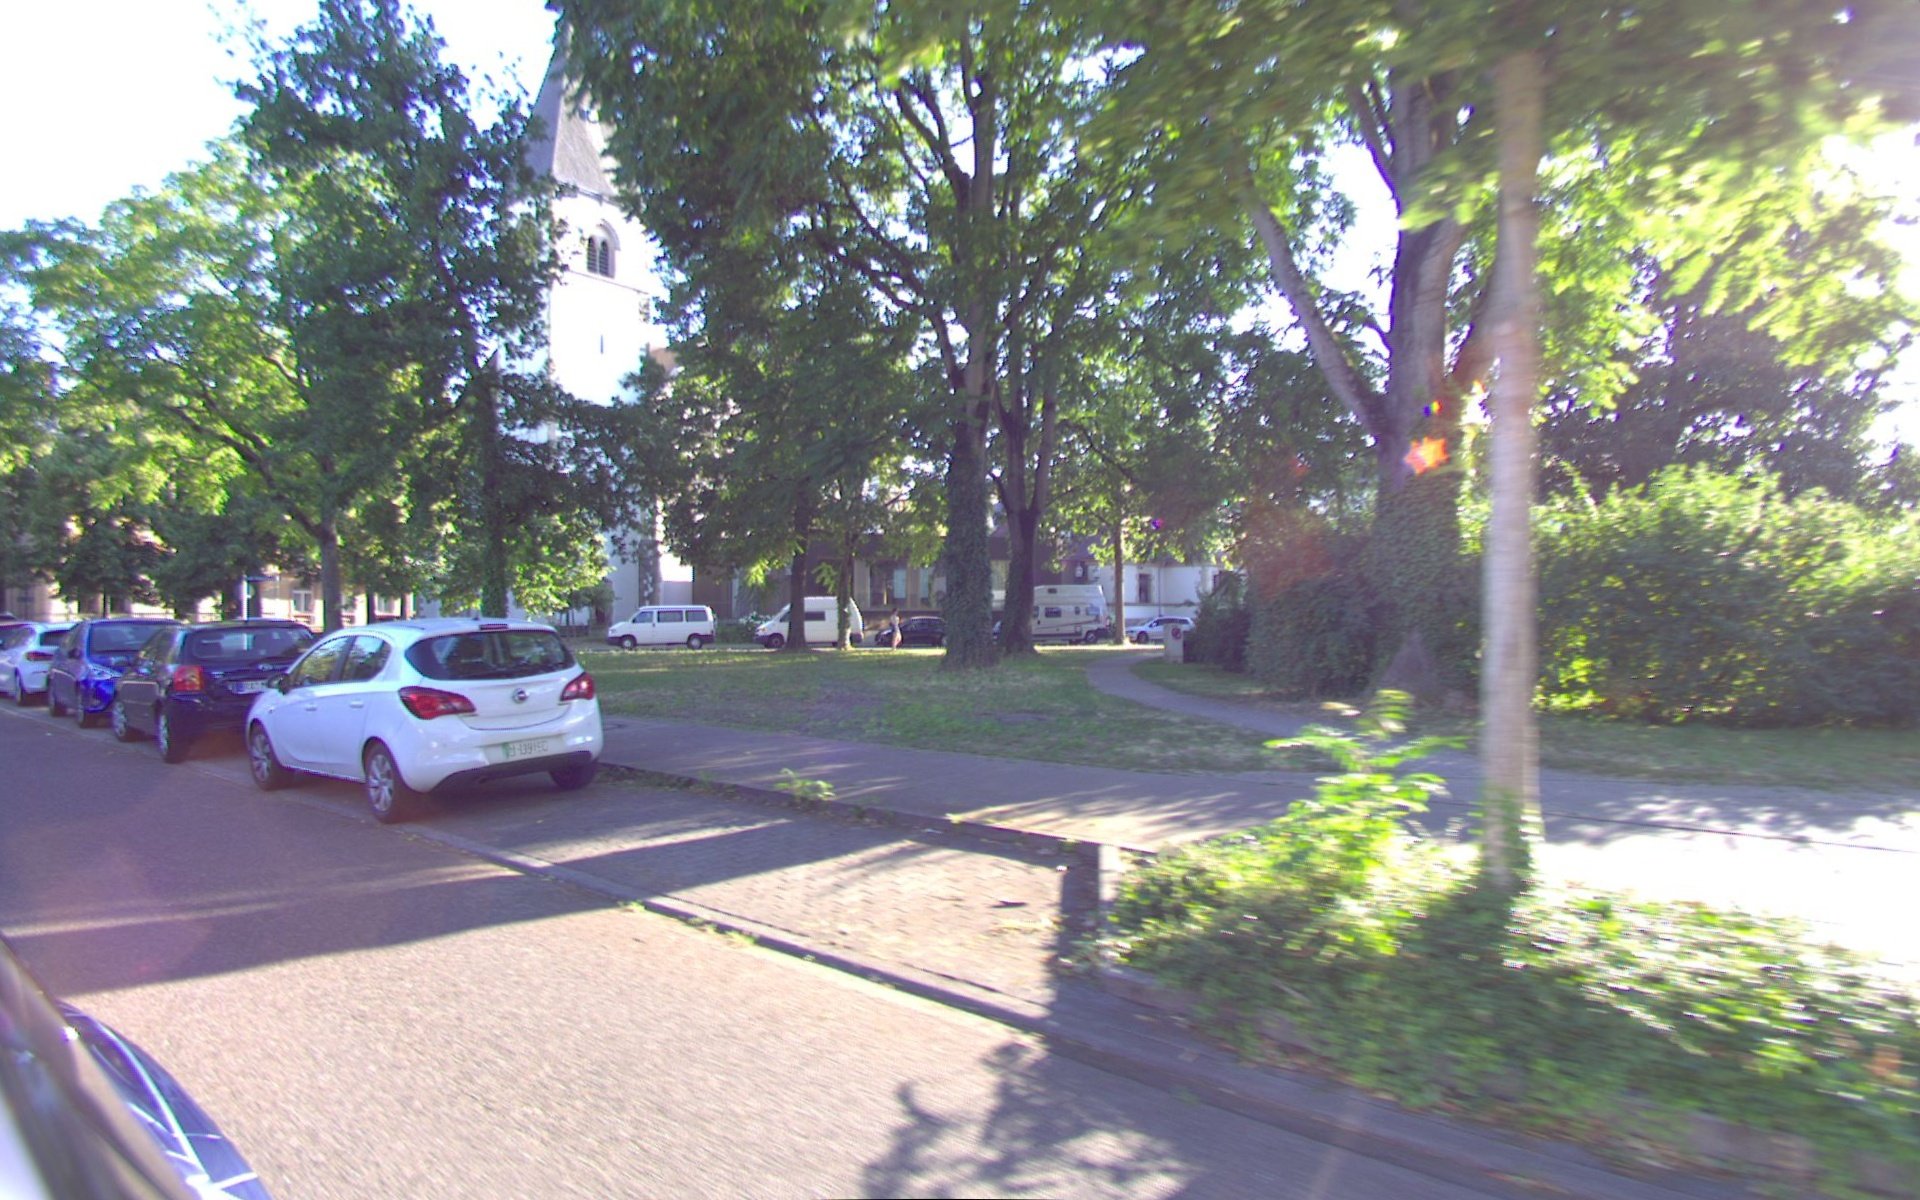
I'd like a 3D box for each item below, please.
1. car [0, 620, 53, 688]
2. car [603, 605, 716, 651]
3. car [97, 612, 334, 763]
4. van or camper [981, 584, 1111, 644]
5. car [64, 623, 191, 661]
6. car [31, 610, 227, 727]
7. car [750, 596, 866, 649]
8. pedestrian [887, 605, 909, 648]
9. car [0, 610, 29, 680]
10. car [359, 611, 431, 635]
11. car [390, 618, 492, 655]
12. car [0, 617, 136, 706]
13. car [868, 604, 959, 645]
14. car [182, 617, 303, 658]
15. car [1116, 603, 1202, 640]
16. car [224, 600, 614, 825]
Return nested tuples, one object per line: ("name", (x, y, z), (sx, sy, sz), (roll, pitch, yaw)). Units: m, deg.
("car", (-21.692, 1.196, 22.806), (3.424, 1.434, 1.373), (-1, 1, 40))
("car", (-13.480, 1.221, 45.511), (4.758, 1.961, 1.862), (0, -1, -16))
("car", (-8.925, 0.918, 12.015), (3.942, 1.506, 1.535), (-1, -1, 43))
("van or camper", (4.385, 0.684, 51.412), (6.223, 2.930, 2.103), (0, -1, -18))
("car", (-33.033, 1.668, 40.244), (3.545, 1.451, 1.622), (0, -2, -14))
("car", (-12.606, 0.951, 15.282), (3.702, 1.507, 1.622), (-1, 1, 40))
("car", (-7.166, 1.032, 47.598), (5.096, 2.373, 1.863), (0, -1, -21))
("pedestrian", (-2.302, 0.975, 37.467), (0.756, 1.587, 0.777), (-1, -2, -6))
("car", (-25.314, 1.165, 25.792), (4.317, 1.688, 1.783), (-1, 1, 40))
("car", (-40.584, 1.629, 72.796), (1.889, 1.668, 4.166), (-1, -2, 38))
("car", (-22.074, 1.530, 43.146), (3.634, 1.513, 1.626), (0, -1, -16))
("car", (-16.893, 1.074, 18.836), (3.971, 1.417, 1.673), (-1, 1, 40))
("car", (-2.271, 1.185, 49.333), (4.072, 1.900, 1.863), (0, -1, -21))
("car", (-29.033, 1.496, 41.066), (3.634, 1.591, 1.715), (0, -1, -16))
("car", (10.479, 1.126, 53.421), (4.072, 1.900, 1.863), (0, -1, -21))
("car", (-4.794, 0.808, 8.760), (3.860, 1.538, 1.577), (-1, -1, 38))
